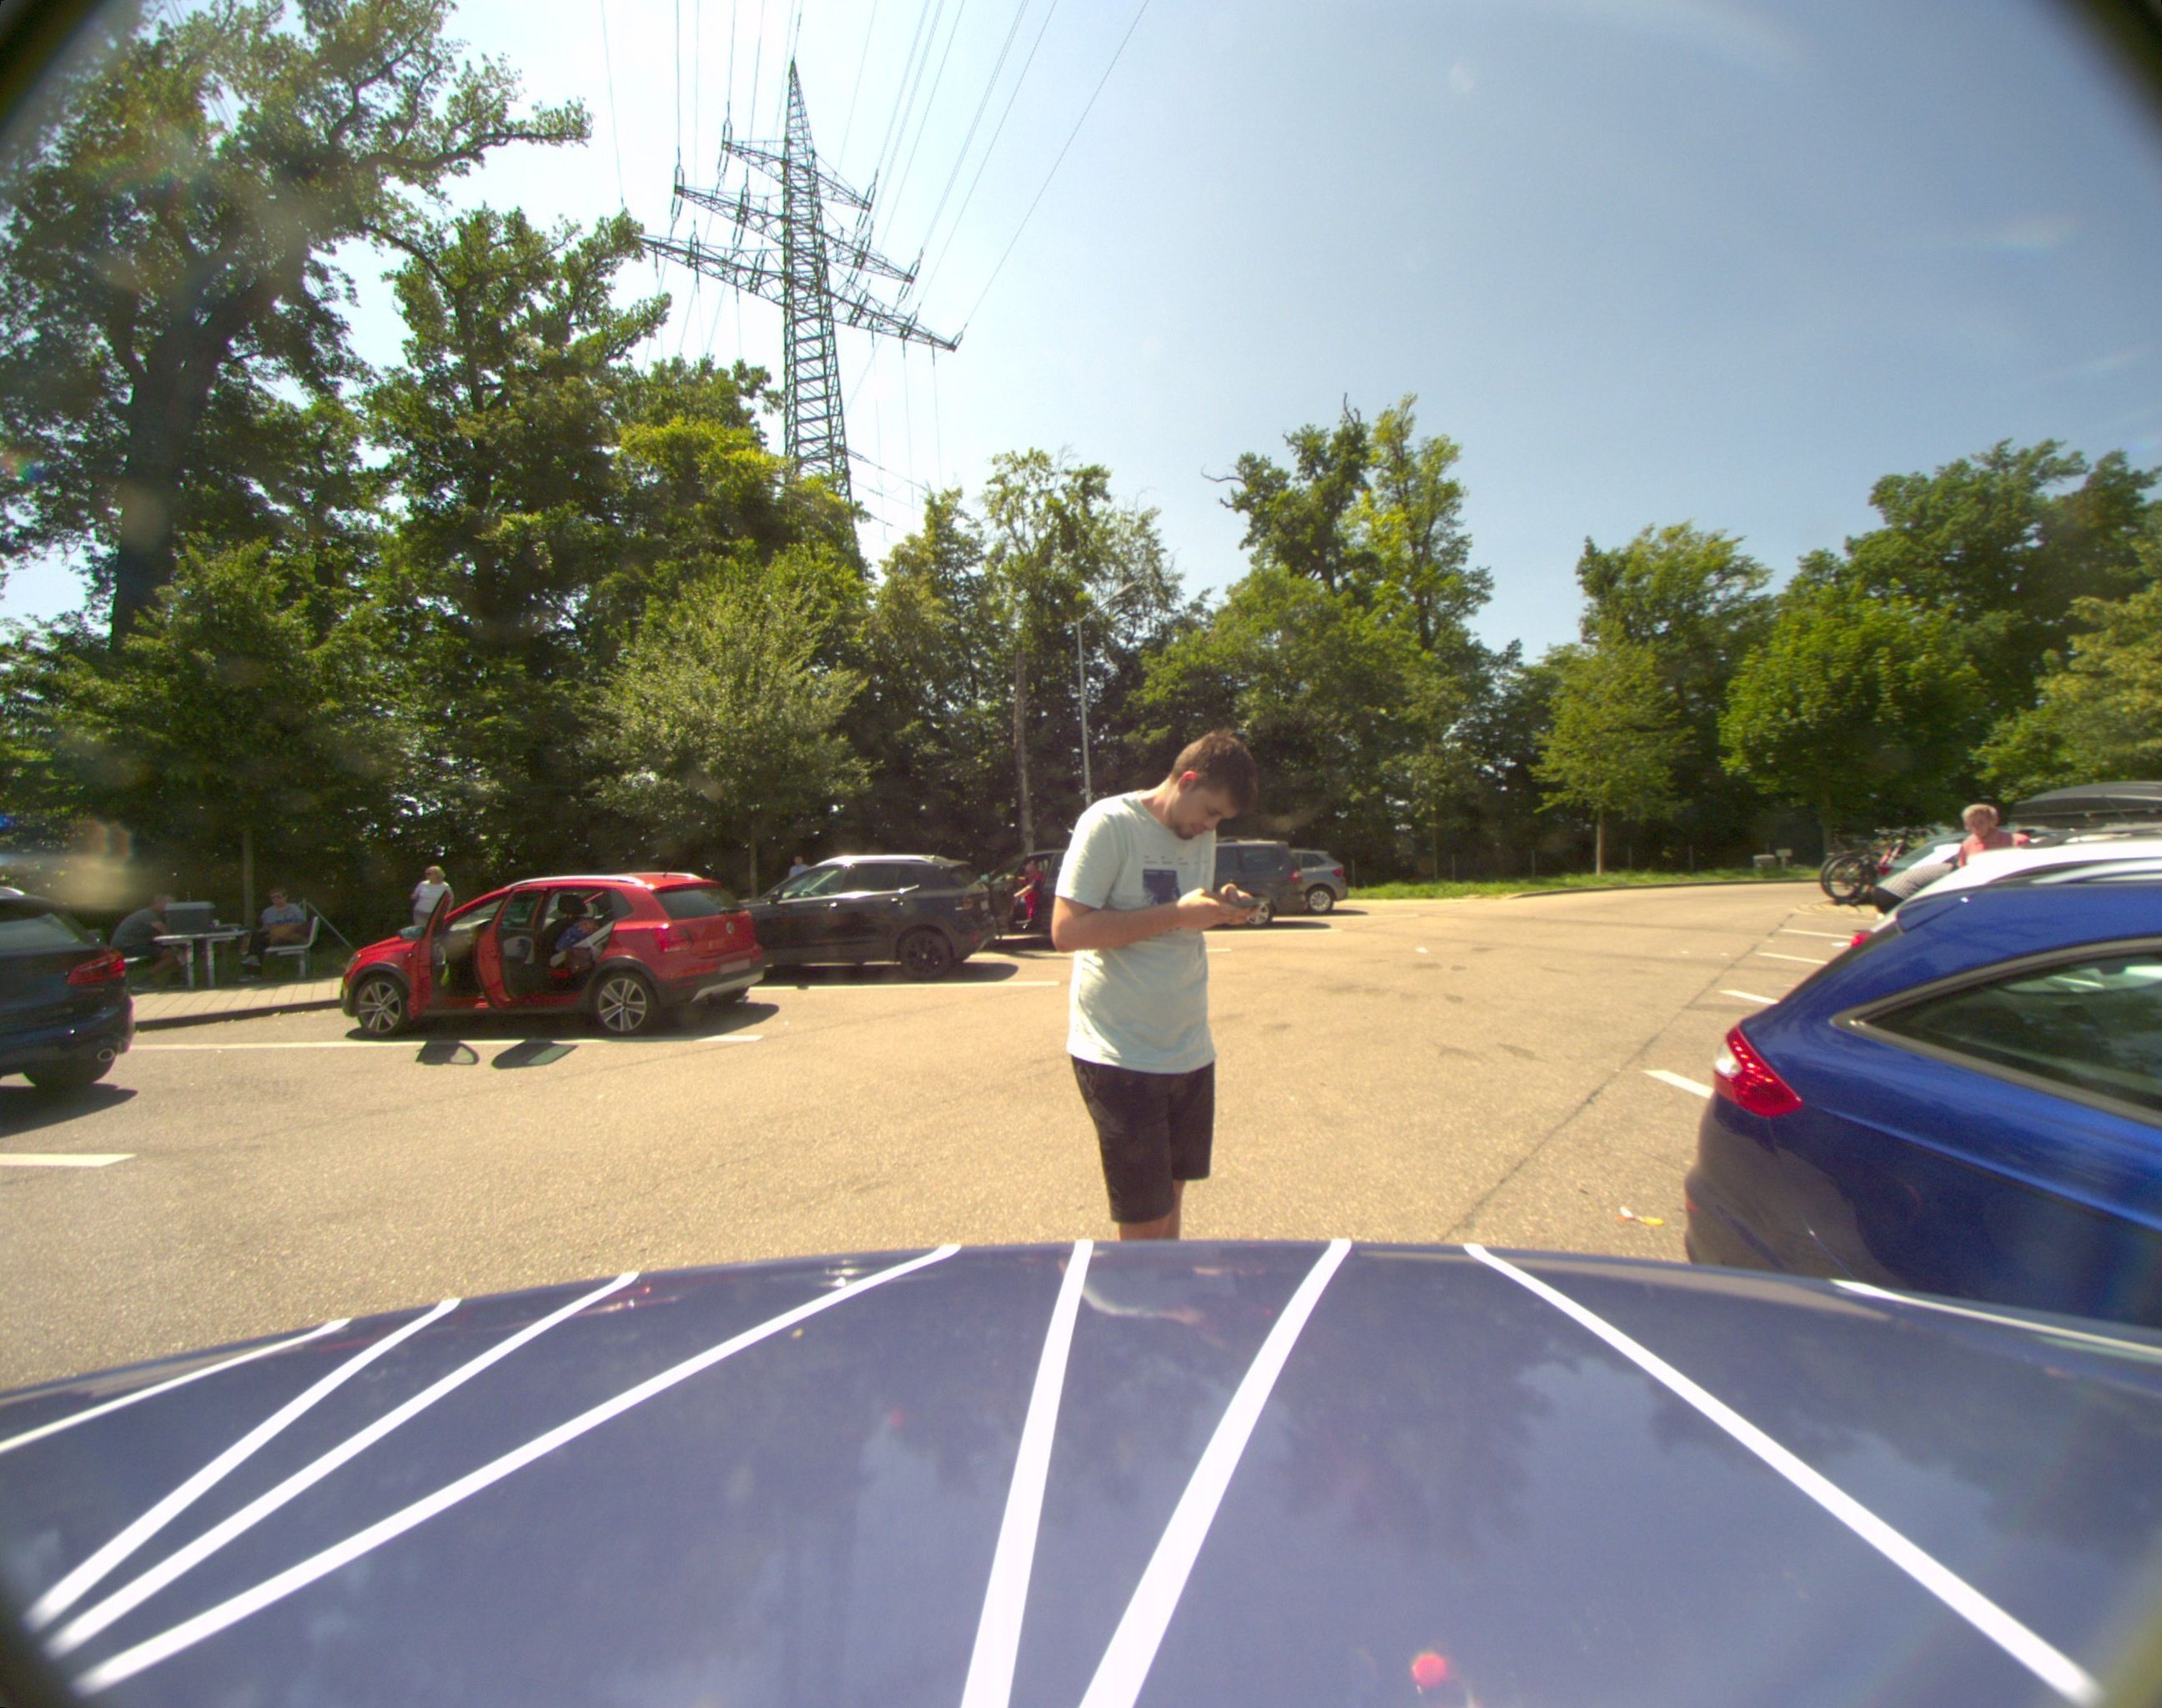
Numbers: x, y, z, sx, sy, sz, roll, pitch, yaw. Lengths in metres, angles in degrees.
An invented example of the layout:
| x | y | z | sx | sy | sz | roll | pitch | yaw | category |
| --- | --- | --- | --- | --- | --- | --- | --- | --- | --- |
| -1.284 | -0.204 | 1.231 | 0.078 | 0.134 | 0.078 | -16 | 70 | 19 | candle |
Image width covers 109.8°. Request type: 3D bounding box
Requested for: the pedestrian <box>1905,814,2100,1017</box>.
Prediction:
| x | y | z | sx | sy | sz | roll | pitch | yaw | category |
| --- | --- | --- | --- | --- | --- | --- | --- | --- | --- |
| 7.727 | 0.493 | 6.408 | 0.672 | 1.592 | 0.759 | -2 | 0 | -1 | pedestrian |

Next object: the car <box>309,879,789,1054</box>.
| x | y | z | sx | sy | sz | roll | pitch | yaw | category |
| --- | --- | --- | --- | --- | --- | --- | --- | --- | --- |
| -5.197 | 1.070 | 7.713 | 3.704 | 1.448 | 1.781 | -2 | 0 | 7 | car |

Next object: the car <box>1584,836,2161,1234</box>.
| x | y | z | sx | sy | sz | roll | pitch | yaw | category |
| --- | --- | --- | --- | --- | --- | --- | --- | --- | --- |
| 4.860 | 0.658 | 3.710 | 1.779 | 1.456 | 4.470 | -2 | -1 | 0 | car |

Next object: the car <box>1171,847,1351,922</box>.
| x | y | z | sx | sy | sz | roll | pitch | yaw | category |
| --- | --- | --- | --- | --- | --- | --- | --- | --- | --- |
| 4.174 | 0.711 | 18.197 | 3.964 | 1.577 | 1.781 | -2 | 0 | 7 | car |

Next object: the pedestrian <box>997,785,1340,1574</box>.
| x | y | z | sx | sy | sz | roll | pitch | yaw | category |
| --- | --- | --- | --- | --- | --- | --- | --- | --- | --- |
| 0.195 | 0.714 | 1.946 | 0.687 | 1.699 | 0.578 | -2 | 0 | 1 | pedestrian |

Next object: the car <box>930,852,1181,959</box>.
| x | y | z | sx | sy | sz | roll | pitch | yaw | category |
| --- | --- | --- | --- | --- | --- | --- | --- | --- | --- |
| -0.331 | 0.838 | 12.952 | 3.964 | 1.582 | 1.781 | -2 | 0 | 8 | car |

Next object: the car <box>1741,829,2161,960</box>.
| x | y | z | sx | sy | sz | roll | pitch | yaw | category |
| --- | --- | --- | --- | --- | --- | --- | --- | --- | --- |
| 12.361 | 0.476 | 10.937 | 1.779 | 1.456 | 4.470 | -2 | -1 | 0 | car |

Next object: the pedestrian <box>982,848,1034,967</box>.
| x | y | z | sx | sy | sz | roll | pitch | yaw | category |
| --- | --- | --- | --- | --- | --- | --- | --- | --- | --- |
| -1.107 | 0.805 | 11.665 | 0.660 | 1.745 | 0.636 | -2 | 0 | 1 | pedestrian |

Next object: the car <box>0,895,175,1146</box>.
| x | y | z | sx | sy | sz | roll | pitch | yaw | category |
| --- | --- | --- | --- | --- | --- | --- | --- | --- | --- |
| -8.922 | 1.155 | 4.995 | 4.011 | 1.558 | 1.846 | -2 | 0 | 6 | car |

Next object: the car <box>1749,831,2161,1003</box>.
| x | y | z | sx | sy | sz | roll | pitch | yaw | category |
| --- | --- | --- | --- | --- | --- | --- | --- | --- | --- |
| 10.060 | 0.532 | 8.153 | 1.779 | 1.456 | 4.470 | -2 | -1 | 0 | car |

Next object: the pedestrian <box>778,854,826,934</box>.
| x | y | z | sx | sy | sz | roll | pitch | yaw | category |
| --- | --- | --- | --- | --- | --- | --- | --- | --- | --- |
| -5.728 | 0.810 | 15.649 | 0.715 | 1.584 | 0.809 | -2 | 0 | -7 | pedestrian |

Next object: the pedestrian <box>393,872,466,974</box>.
| x | y | z | sx | sy | sz | roll | pitch | yaw | category |
| --- | --- | --- | --- | --- | --- | --- | --- | --- | --- |
| -10.837 | 1.116 | 12.668 | 0.777 | 1.584 | 0.808 | -2 | 0 | -34 | pedestrian |

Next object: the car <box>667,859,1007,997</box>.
| x | y | z | sx | sy | sz | roll | pitch | yaw | category |
| --- | --- | --- | --- | --- | --- | --- | --- | --- | --- |
| -3.150 | 0.936 | 10.373 | 3.966 | 1.582 | 1.841 | -2 | 0 | 3 | car |

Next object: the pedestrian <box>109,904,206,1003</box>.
| x | y | z | sx | sy | sz | roll | pitch | yaw | category |
| --- | --- | --- | --- | --- | --- | --- | --- | --- | --- |
| -12.679 | 1.341 | 10.442 | 0.652 | 1.262 | 0.672 | -2 | 0 | 24 | pedestrian |

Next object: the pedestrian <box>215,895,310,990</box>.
| x | y | z | sx | sy | sz | roll | pitch | yaw | category |
| --- | --- | --- | --- | --- | --- | --- | --- | --- | --- |
| -11.861 | 1.265 | 11.016 | 0.828 | 1.287 | 0.672 | -2 | 0 | 24 | pedestrian |

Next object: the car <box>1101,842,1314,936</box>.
| x | y | z | sx | sy | sz | roll | pitch | yaw | category |
| --- | --- | --- | --- | --- | --- | --- | --- | --- | --- |
| 2.505 | 0.695 | 15.444 | 3.964 | 1.678 | 1.781 | -2 | 0 | 7 | car |
